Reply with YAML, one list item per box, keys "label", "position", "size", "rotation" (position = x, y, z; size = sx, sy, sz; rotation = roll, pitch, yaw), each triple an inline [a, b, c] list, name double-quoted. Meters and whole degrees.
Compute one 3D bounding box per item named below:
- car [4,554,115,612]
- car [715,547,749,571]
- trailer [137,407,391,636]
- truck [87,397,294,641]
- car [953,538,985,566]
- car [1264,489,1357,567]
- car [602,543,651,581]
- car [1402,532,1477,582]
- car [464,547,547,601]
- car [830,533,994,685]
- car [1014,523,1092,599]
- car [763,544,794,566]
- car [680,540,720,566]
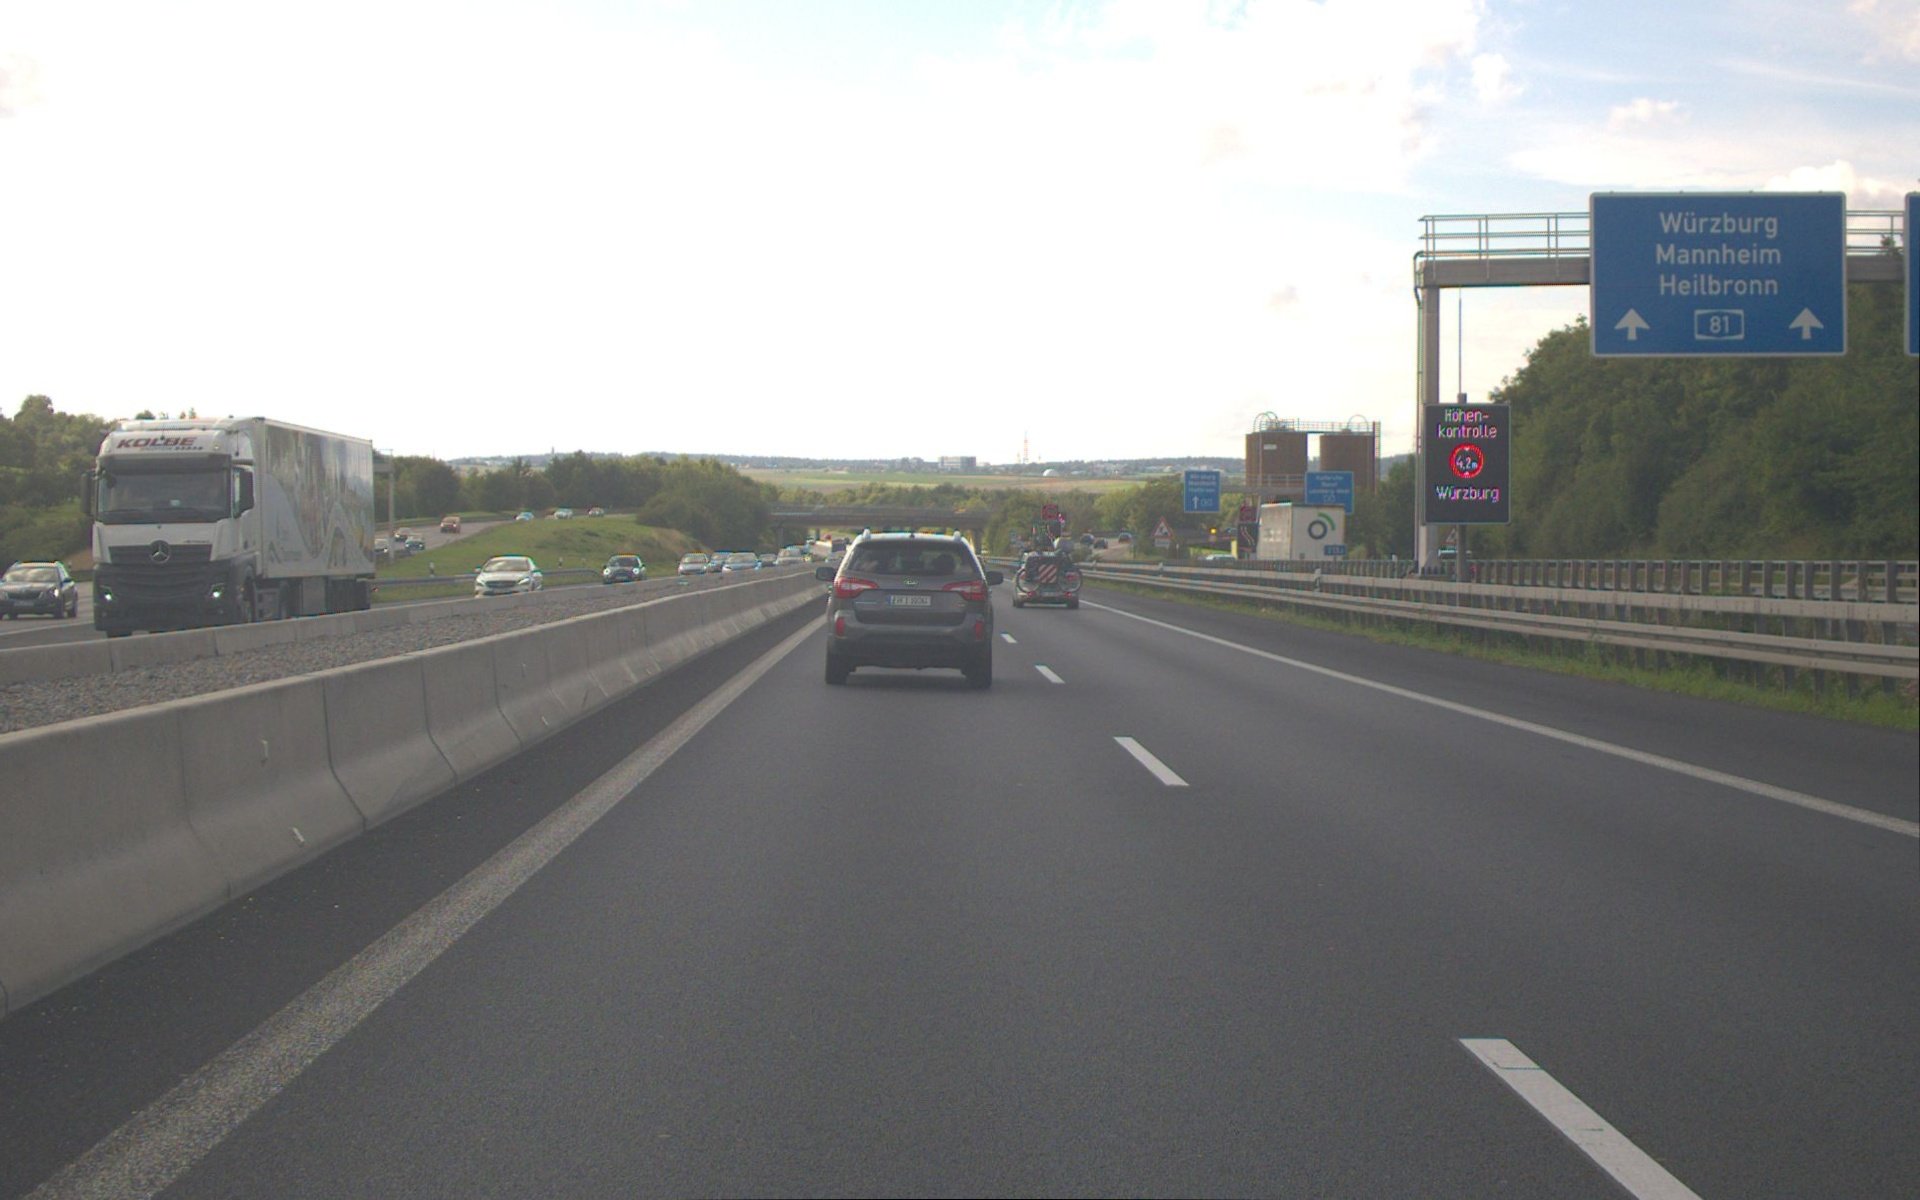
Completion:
- label: "car"
  position: [-24.267, -0.476, 92.801]
  size: [1.942, 1.489, 4.128]
  rotation: [-1, 1, -1]
- label: "car"
  position: [-14.967, -2.685, 225.787]
  size: [1.993, 1.527, 4.507]
  rotation: [-1, 1, -1]
- label: "trailer"
  position: [-13.676, -1.497, 68.763]
  size: [2.488, 4.115, 13.284]
  rotation: [-1, 1, -1]
- label: "truck"
  position: [-13.584, -1.405, 61.072]
  size: [2.488, 4.115, 5.299]
  rotation: [-1, 1, -1]
- label: "car"
  position: [0.570, -3.117, 222.055]
  size: [1.975, 1.773, 4.120]
  rotation: [-1, 1, -1]
- label: "car"
  position: [17.017, -3.481, 167.417]
  size: [3.576, 3.664, 7.549]
  rotation: [-1, 1, -1]
- label: "car"
  position: [-14.699, -1.673, 151.635]
  size: [1.801, 1.612, 4.302]
  rotation: [-1, 1, -1]
- label: "car"
  position: [16.778, -1.503, 120.424]
  size: [1.993, 1.711, 4.000]
  rotation: [-1, 1, -1]
- label: "car"
  position: [-14.206, -0.829, 107.743]
  size: [1.993, 1.612, 5.003]
  rotation: [-1, 1, -1]
- label: "car"
  position: [-0.502, 0.076, 38.880]
  size: [1.750, 1.625, 3.609]
  rotation: [-1, 1, 1]
- label: "car"
  position: [2.605, -1.091, 96.965]
  size: [1.993, 2.073, 4.000]
  rotation: [-1, 1, -1]
- label: "car"
  position: [-12.861, -3.190, 243.774]
  size: [1.993, 1.527, 5.022]
  rotation: [-1, 1, -1]
- label: "car"
  position: [-14.816, -2.689, 195.940]
  size: [1.993, 1.451, 4.181]
  rotation: [-1, 1, -1]
